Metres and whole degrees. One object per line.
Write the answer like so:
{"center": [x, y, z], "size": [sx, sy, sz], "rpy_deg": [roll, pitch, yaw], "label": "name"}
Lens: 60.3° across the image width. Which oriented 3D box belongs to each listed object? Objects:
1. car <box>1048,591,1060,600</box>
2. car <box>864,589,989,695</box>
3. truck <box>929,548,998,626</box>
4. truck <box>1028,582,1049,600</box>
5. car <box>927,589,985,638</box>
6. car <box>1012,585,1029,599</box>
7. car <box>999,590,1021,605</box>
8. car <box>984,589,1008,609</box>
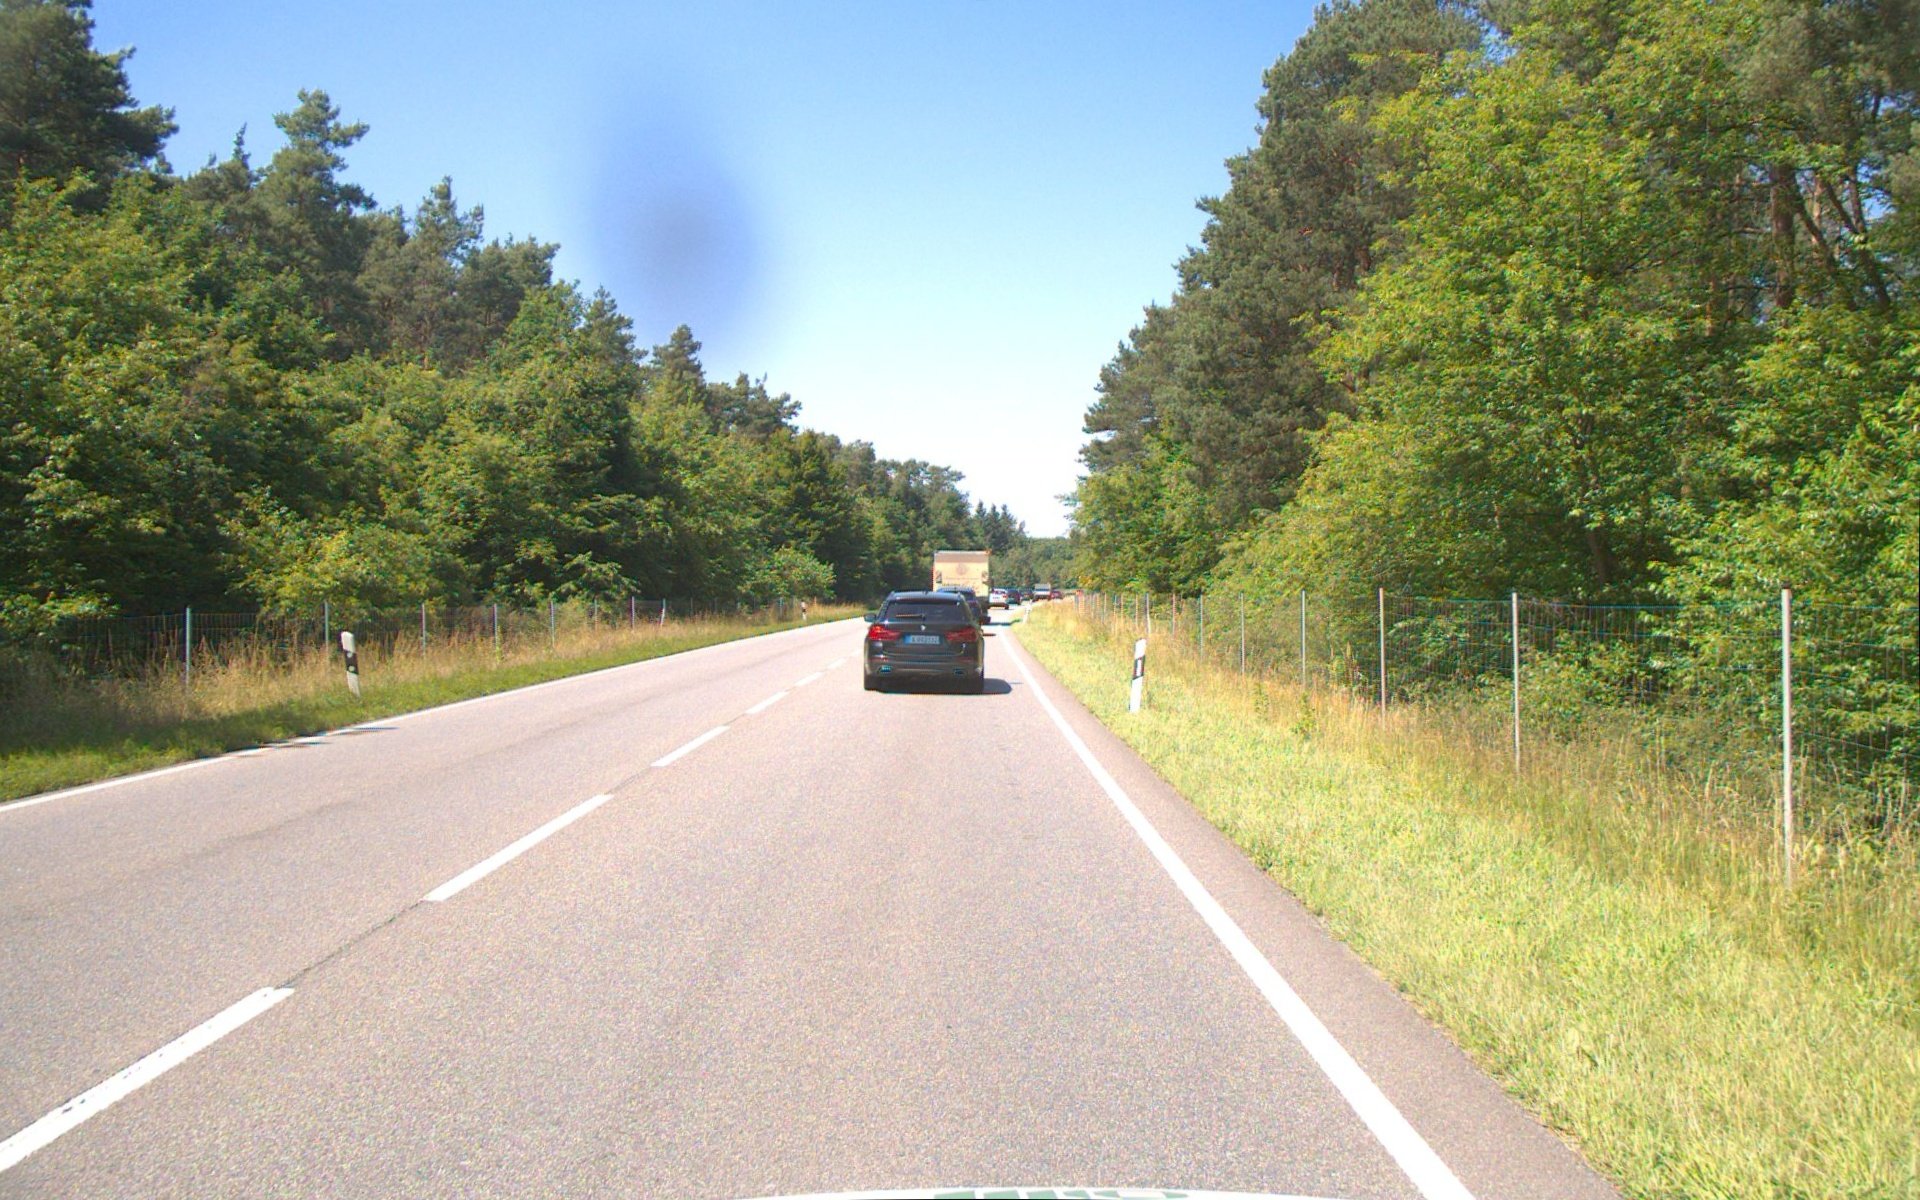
{"center": [14.649, -0.745, 257.028], "size": [1.756, 1.378, 3.931], "rpy_deg": [0, 0, 6], "label": "car"}
{"center": [-0.577, 0.596, 25.915], "size": [1.784, 1.496, 3.998], "rpy_deg": [1, 0, -3], "label": "car"}
{"center": [0.092, -0.596, 76.584], "size": [2.906, 3.447, 6.435], "rpy_deg": [0, 1, -2], "label": "truck"}
{"center": [10.589, -1.227, 222.898], "size": [2.509, 2.240, 4.977], "rpy_deg": [-1, 1, 5], "label": "truck"}
{"center": [-0.165, 0.440, 57.207], "size": [1.908, 1.568, 3.999], "rpy_deg": [-1, 0, -1], "label": "car"}
{"center": [7.282, -0.973, 199.043], "size": [1.952, 1.665, 4.001], "rpy_deg": [-1, 0, 2], "label": "car"}
{"center": [5.022, -0.243, 166.868], "size": [1.953, 1.445, 3.999], "rpy_deg": [1, 1, -1], "label": "car"}
{"center": [2.953, -0.099, 135.865], "size": [1.825, 1.633, 3.999], "rpy_deg": [-1, 0, -1], "label": "car"}
